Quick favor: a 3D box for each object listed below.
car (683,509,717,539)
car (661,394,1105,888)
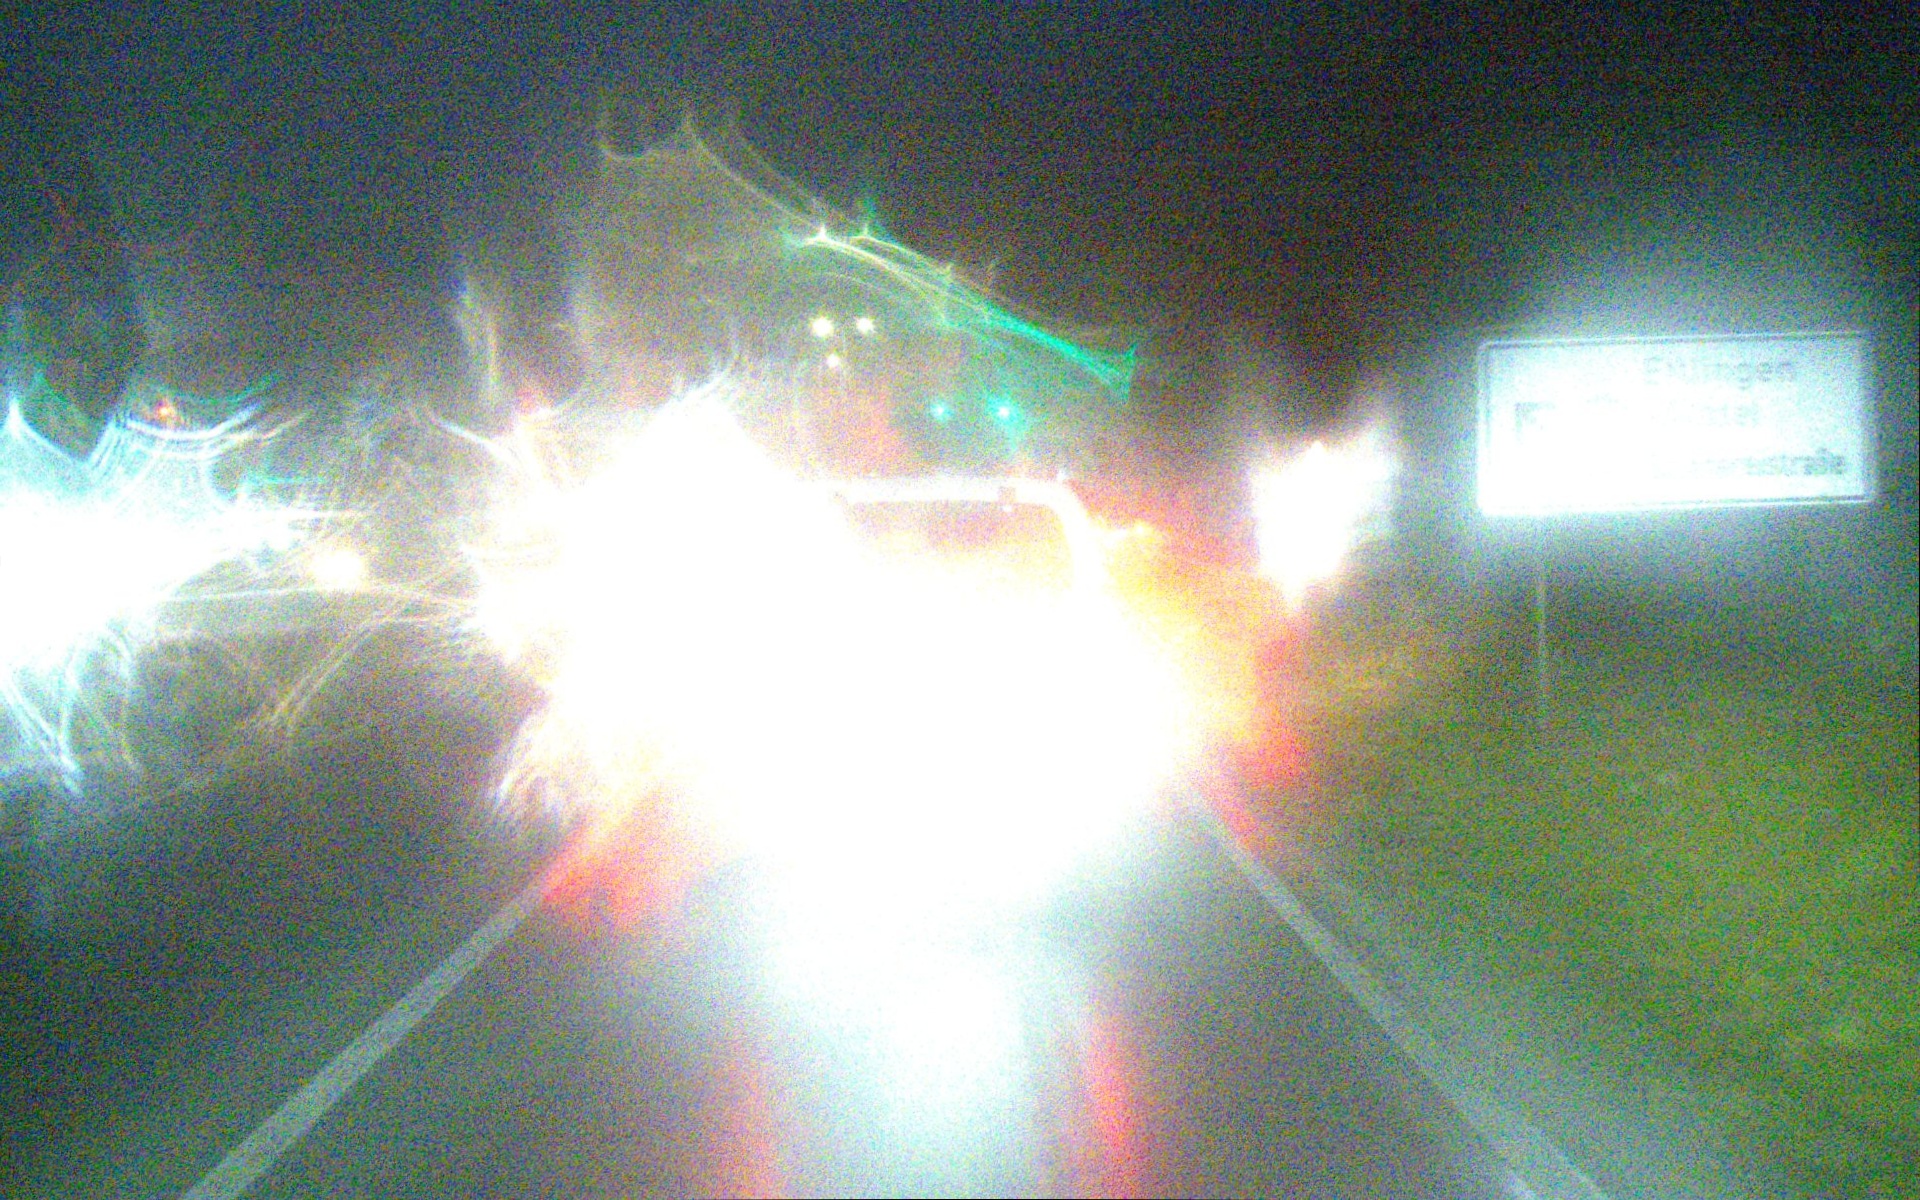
[{"bbox_3d":[-14.672,-4.267,193.950,1.801,1.582,4.031,-2,1,-4],"label":"car"},{"bbox_3d":[-0.321,0.108,16.942,1.791,2.015,4.580,-3,2,0],"label":"car"}]
